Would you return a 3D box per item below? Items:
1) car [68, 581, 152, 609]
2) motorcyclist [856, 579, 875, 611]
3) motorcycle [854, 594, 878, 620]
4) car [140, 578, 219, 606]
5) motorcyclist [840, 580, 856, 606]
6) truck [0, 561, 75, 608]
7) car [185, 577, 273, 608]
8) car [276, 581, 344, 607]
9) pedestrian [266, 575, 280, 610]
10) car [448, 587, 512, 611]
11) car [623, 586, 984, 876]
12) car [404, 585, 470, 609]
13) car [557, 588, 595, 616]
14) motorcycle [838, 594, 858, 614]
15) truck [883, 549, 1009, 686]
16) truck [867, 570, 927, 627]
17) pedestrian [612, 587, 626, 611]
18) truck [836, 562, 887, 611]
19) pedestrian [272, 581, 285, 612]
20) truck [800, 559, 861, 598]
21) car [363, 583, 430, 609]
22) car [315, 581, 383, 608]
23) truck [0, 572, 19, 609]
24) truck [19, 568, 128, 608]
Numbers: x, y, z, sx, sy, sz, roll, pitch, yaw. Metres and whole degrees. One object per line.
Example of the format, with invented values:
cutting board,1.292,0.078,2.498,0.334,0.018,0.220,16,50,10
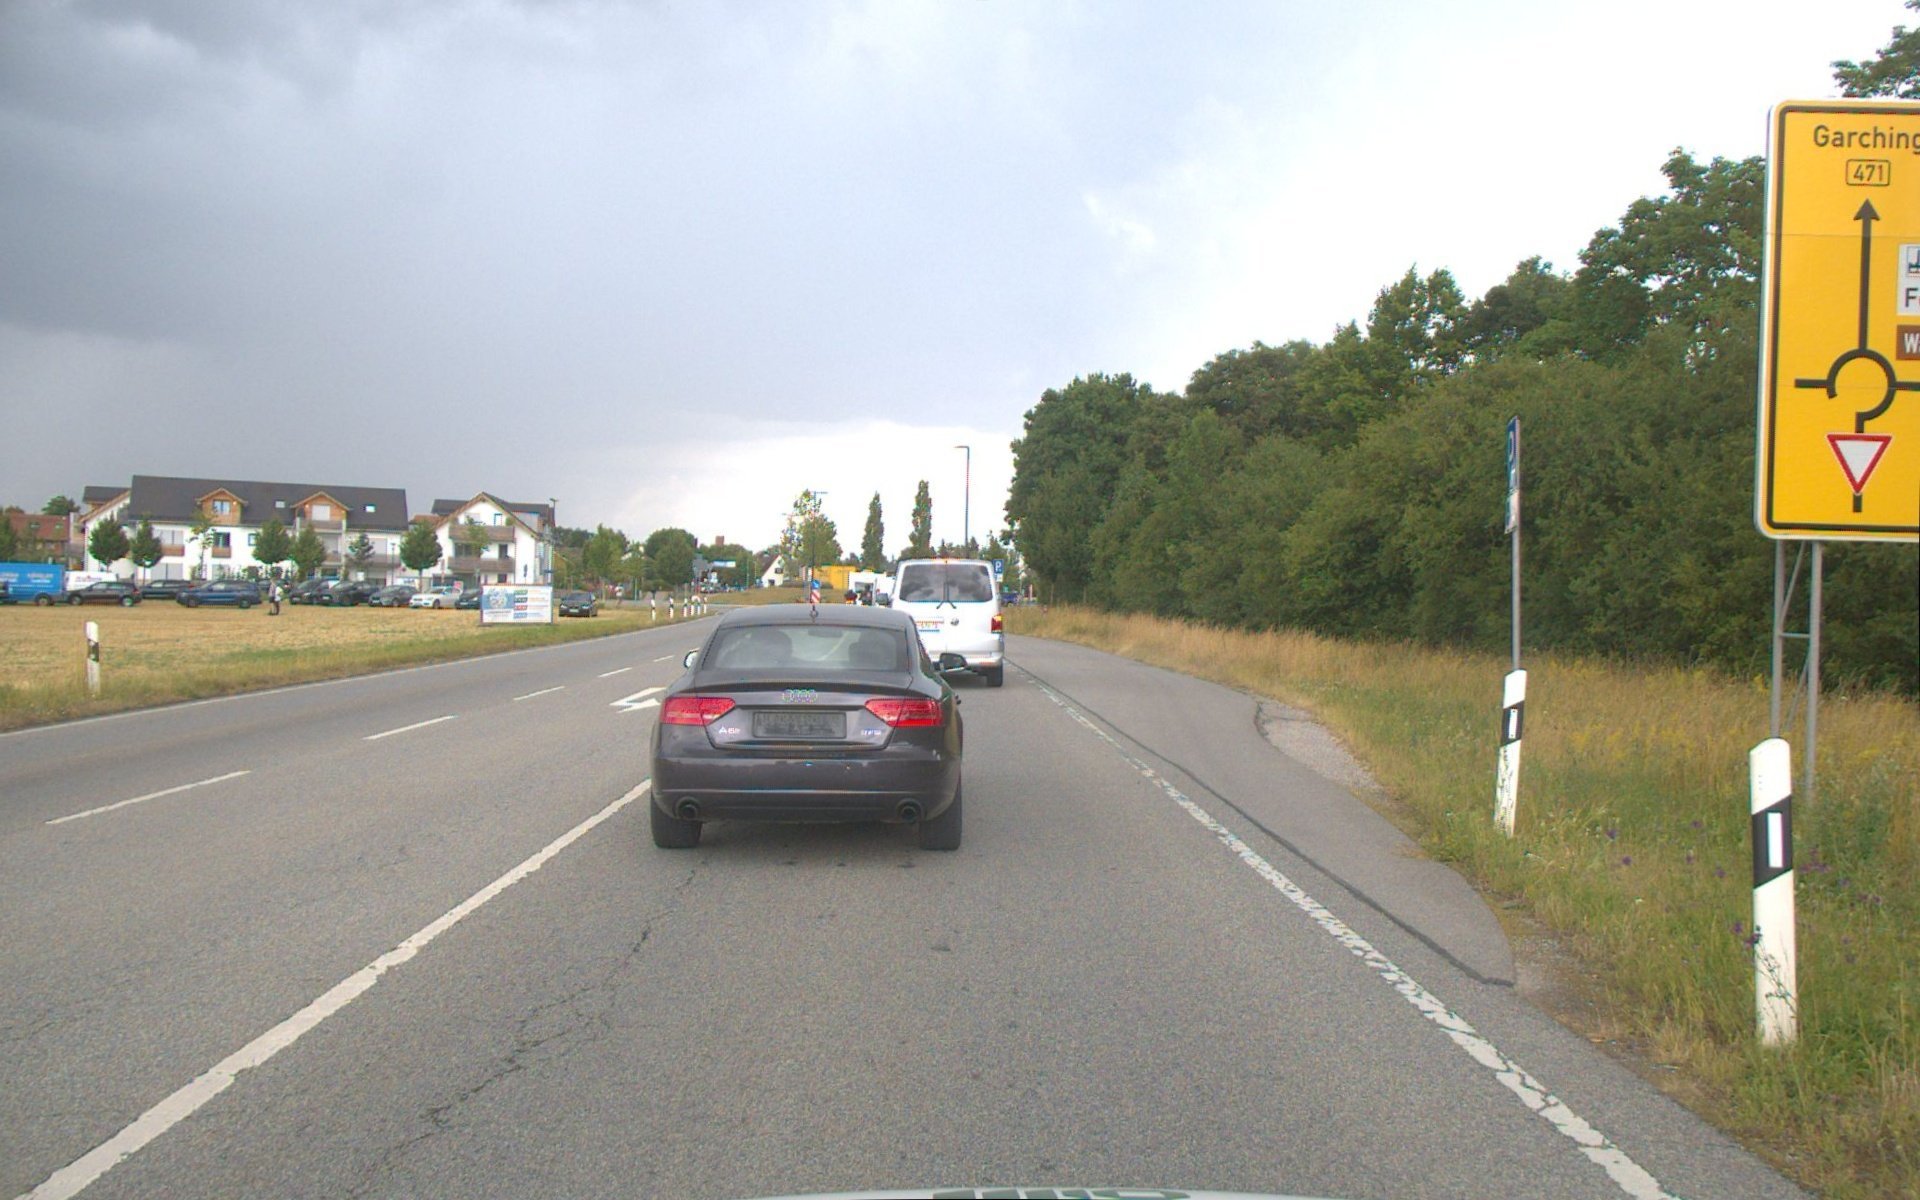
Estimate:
car,-49.032,-0.296,95.499,4.097,1.545,1.987,1,0,-22
motorcyclist,-4.182,-0.211,73.467,0.756,1.407,0.820,1,0,0
motorcycle,-4.164,0.285,73.477,0.901,1.113,2.189,1,0,0
car,-51.632,-0.522,109.548,4.561,1.727,1.987,1,0,-22
motorcyclist,-6.060,-0.365,89.614,0.771,1.380,0.852,1,0,-8
truck,-51.732,-0.879,90.767,5.377,2.489,2.376,1,0,-25
car,-43.277,-0.422,98.059,4.650,1.727,1.987,1,0,-22
car,-42.387,-0.371,107.933,1.951,1.657,4.214,1,0,17
pedestrian,-35.678,-0.375,85.929,0.539,1.817,0.676,1,0,-13
car,-30.397,-0.044,104.881,1.951,1.471,4.214,1,0,17
car,-0.873,0.663,10.580,1.837,1.479,4.175,0,0,-2
car,-33.246,-0.178,105.191,1.951,1.471,4.214,1,0,17
car,-21.522,0.083,92.743,1.959,1.467,3.988,1,1,-12
motorcycle,-6.079,0.213,89.738,0.926,1.037,2.280,1,0,-7
truck,-0.260,0.246,27.214,1.865,2.033,4.627,1,0,-1
truck,-2.340,-0.057,62.668,2.149,2.049,5.083,1,0,-1
pedestrian,-23.203,-0.068,112.384,0.686,1.613,0.658,1,0,15
truck,-6.071,-0.809,100.853,2.577,2.785,5.856,2,0,-8
pedestrian,-35.780,-0.186,86.878,0.581,1.582,0.622,1,0,-21
truck,-12.777,-2.116,162.398,3.523,3.640,9.900,2,1,-20
car,-35.945,-0.252,105.583,1.951,1.562,4.214,1,0,17
car,-39.065,-0.334,105.900,1.951,1.657,4.214,1,0,17
truck,-52.273,-0.540,86.504,5.167,1.954,2.093,1,0,-28
truck,-52.555,-0.712,98.221,5.493,2.235,2.587,1,0,-25
